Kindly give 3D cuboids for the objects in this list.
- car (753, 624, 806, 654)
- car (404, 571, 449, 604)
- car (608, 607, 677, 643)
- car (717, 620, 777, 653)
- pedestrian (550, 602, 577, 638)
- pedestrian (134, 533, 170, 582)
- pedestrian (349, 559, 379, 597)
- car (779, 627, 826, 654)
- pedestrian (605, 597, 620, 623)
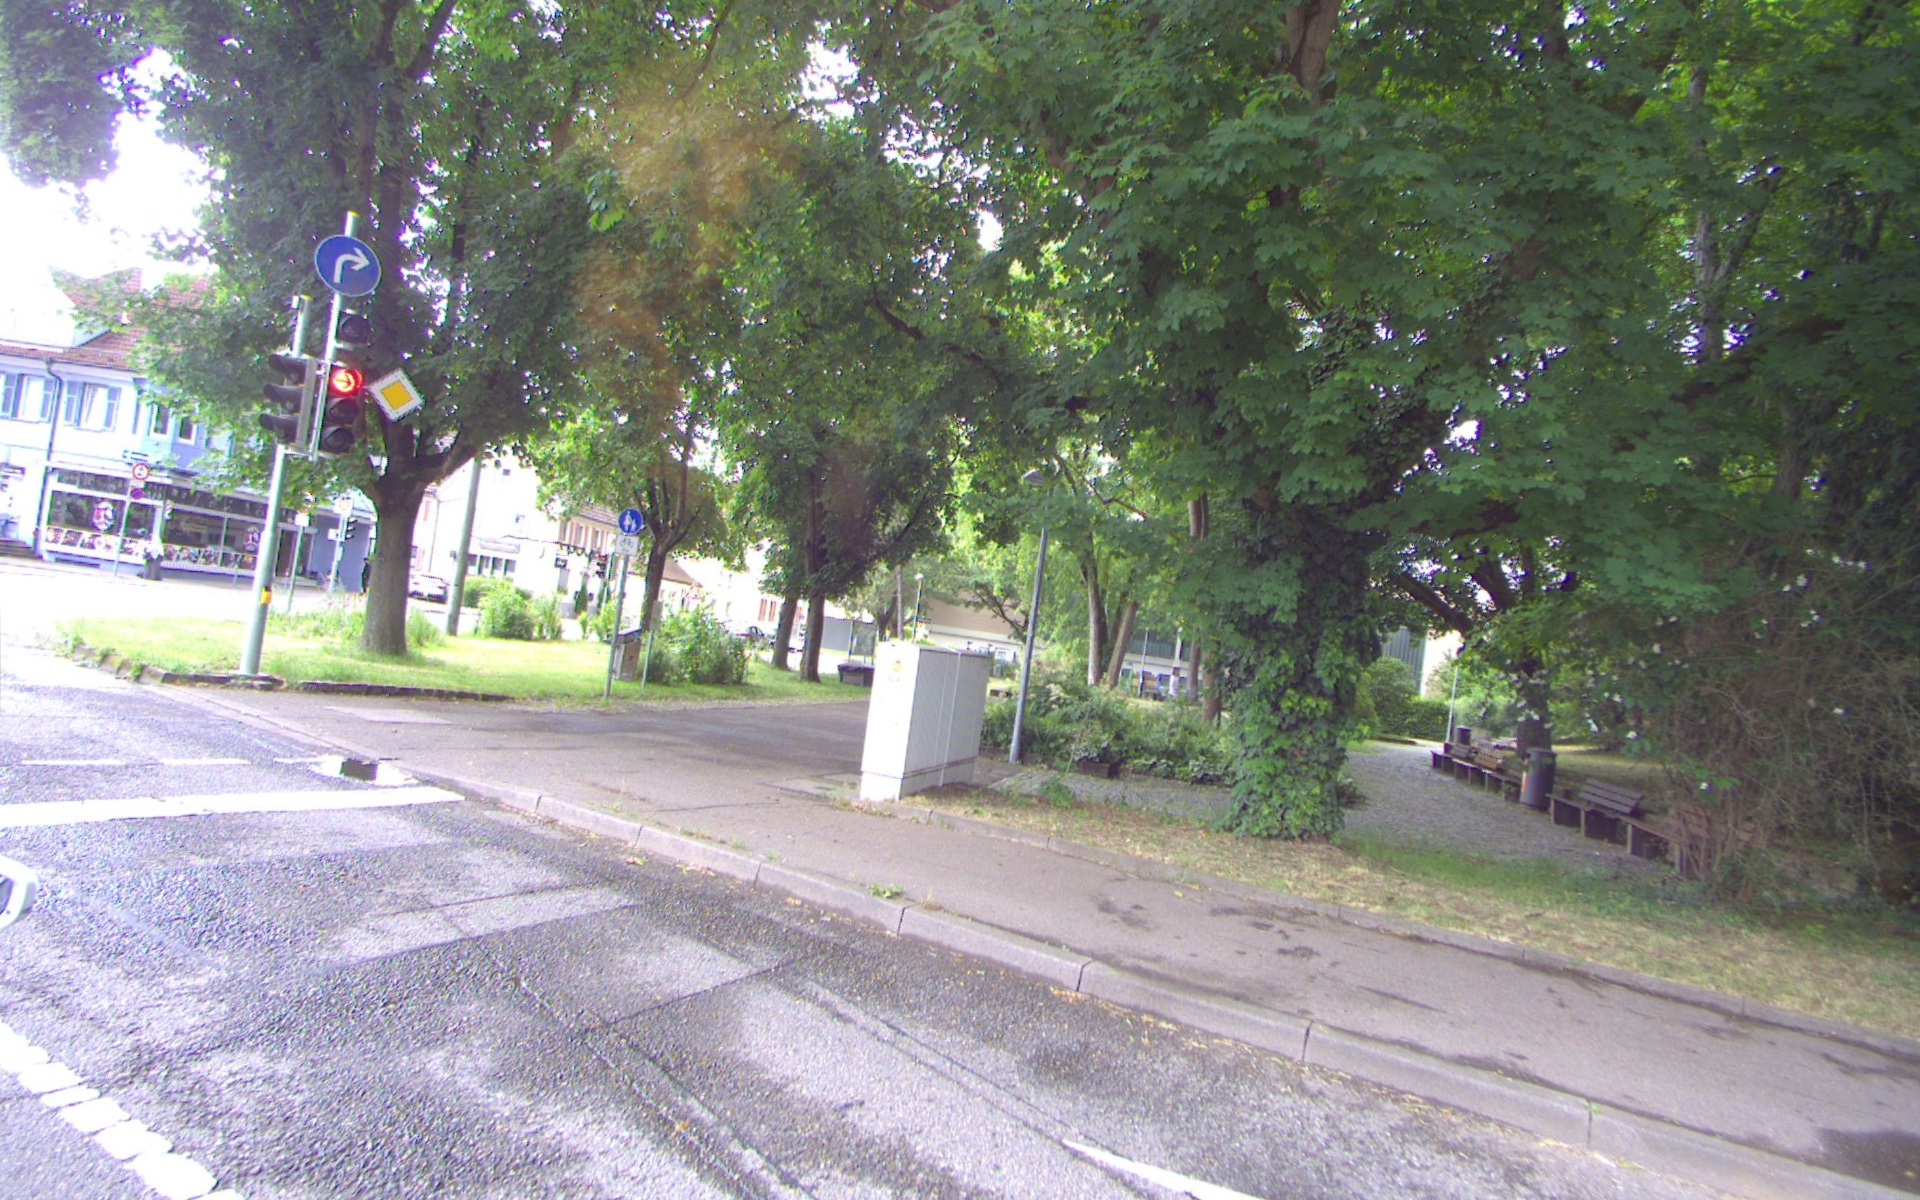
[{"bbox_3d":[-10.702,2.339,59.908,1.618,1.474,3.740,7,-2,13],"label":"car"},{"bbox_3d":[-28.177,-0.690,53.162,1.870,1.406,3.589,9,-2,-28],"label":"car"},{"bbox_3d":[-13.889,1.119,44.116,1.436,1.282,3.014,7,-2,13],"label":"car"},{"bbox_3d":[-11.565,2.015,54.934,1.618,1.474,3.740,7,-2,13],"label":"car"},{"bbox_3d":[-13.038,0.666,33.058,0.506,1.093,0.507,6,-1,17],"label":"pedestrian"},{"bbox_3d":[-28.051,-1.461,34.938,0.688,1.578,0.662,7,-1,-27],"label":"pedestrian"},{"bbox_3d":[-26.906,-0.988,45.415,0.732,1.578,0.673,6,-1,17],"label":"pedestrian"},{"bbox_3d":[-10.276,2.656,66.039,1.618,1.474,3.740,7,-2,13],"label":"car"},{"bbox_3d":[-21.424,0.622,62.054,0.500,1.578,0.505,6,-1,17],"label":"pedestrian"}]
